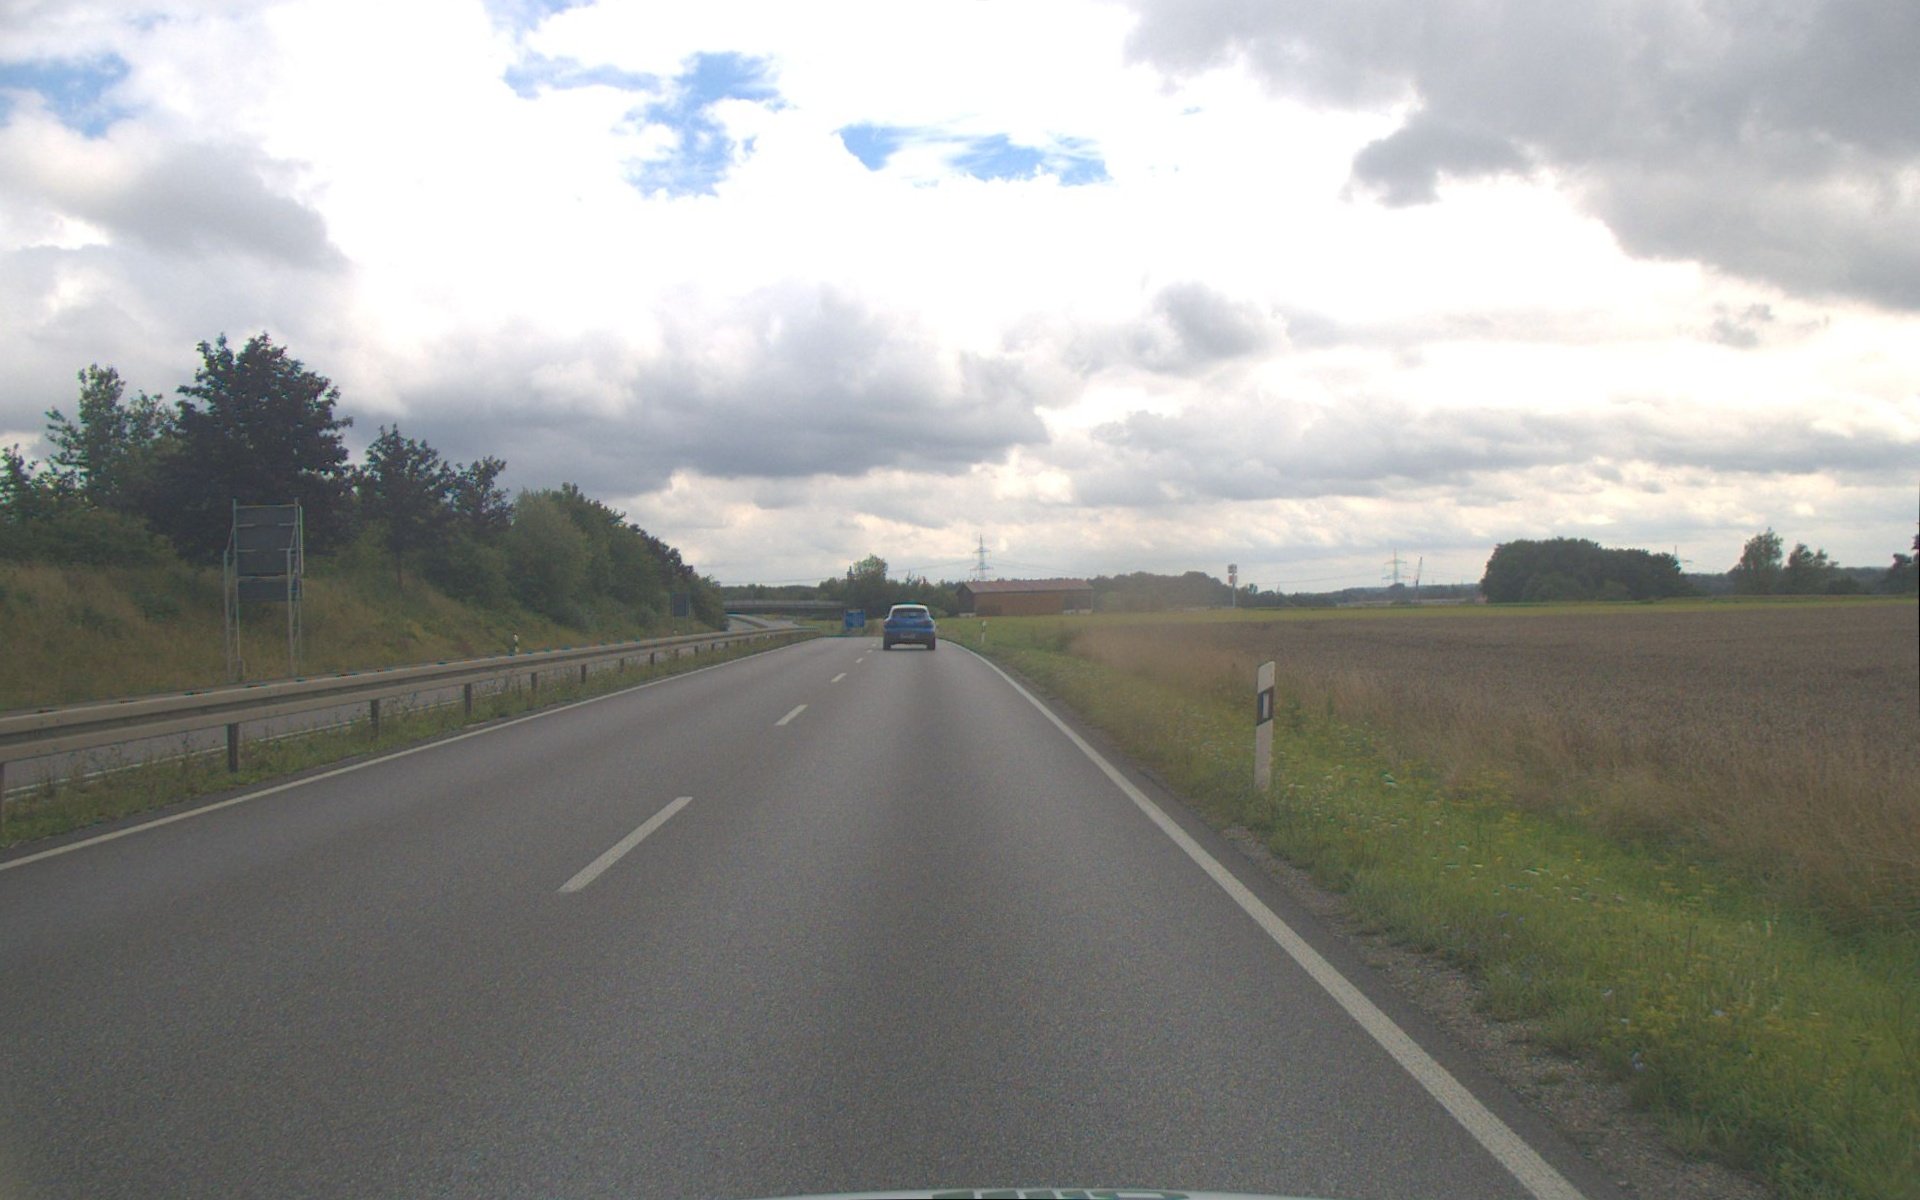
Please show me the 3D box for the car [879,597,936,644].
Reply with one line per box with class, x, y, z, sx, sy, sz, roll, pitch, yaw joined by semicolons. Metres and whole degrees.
car;-1.897;0.727;61.037;1.991;1.689;4.542;0;0;-1
